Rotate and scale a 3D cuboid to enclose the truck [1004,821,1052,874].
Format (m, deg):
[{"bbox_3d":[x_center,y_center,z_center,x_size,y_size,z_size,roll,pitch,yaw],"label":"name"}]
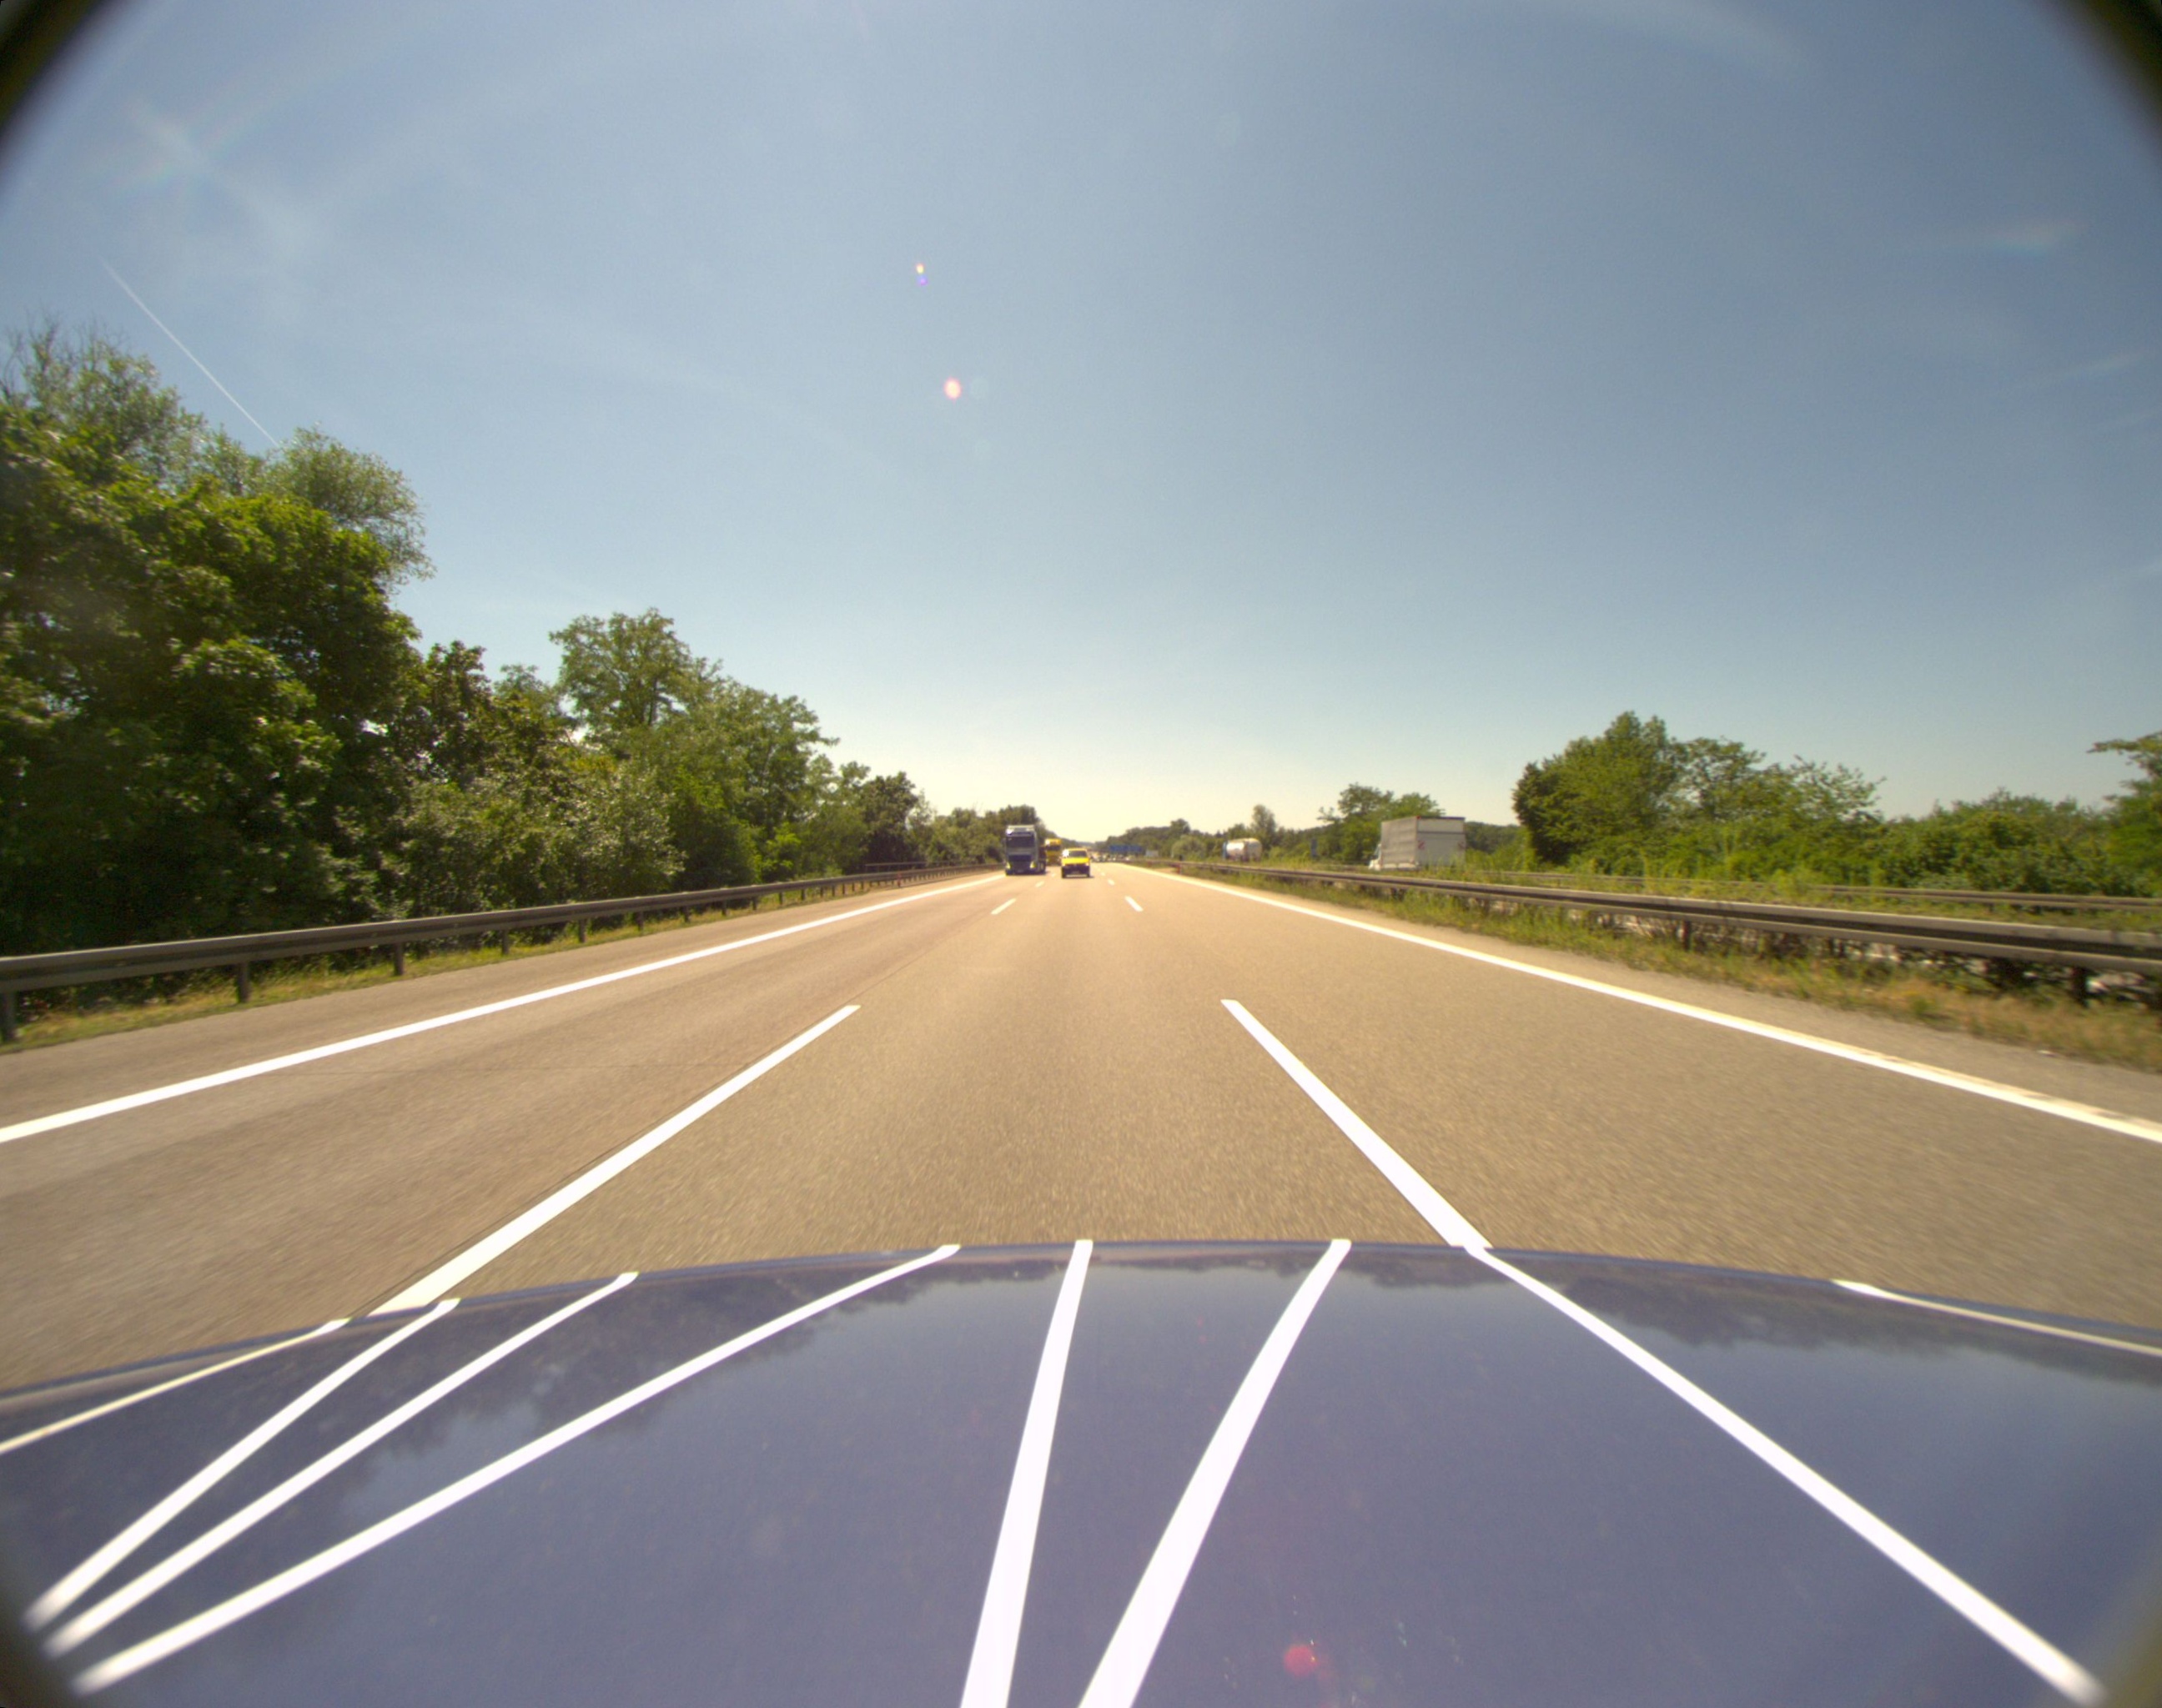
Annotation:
[{"bbox_3d":[-4.370,-0.535,66.391,2.977,3.934,16.611,-2,0,0],"label":"truck"}]

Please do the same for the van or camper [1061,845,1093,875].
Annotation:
[{"bbox_3d":[-0.236,0.397,50.763,1.998,1.898,4.971,-2,0,0],"label":"van or camper"}]

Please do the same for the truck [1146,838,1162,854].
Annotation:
[{"bbox_3d":[22.633,-2.504,237.307,3.234,4.692,16.858,2,0,0],"label":"truck"}]

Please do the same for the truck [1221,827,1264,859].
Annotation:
[{"bbox_3d":[21.823,-1.422,103.881,2.735,4.029,15.934,0,1,1],"label":"truck"}]

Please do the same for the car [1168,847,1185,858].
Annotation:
[{"bbox_3d":[17.585,-0.323,140.454,2.419,1.906,5.782,0,0,1],"label":"car"}]

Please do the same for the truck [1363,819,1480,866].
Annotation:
[{"bbox_3d":[16.474,-0.536,37.376,2.735,2.055,7.137,0,0,2],"label":"truck"}]

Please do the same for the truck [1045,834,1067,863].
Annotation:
[{"bbox_3d":[-3.859,-0.894,120.577,2.852,4.233,16.789,0,0,0],"label":"truck"}]
